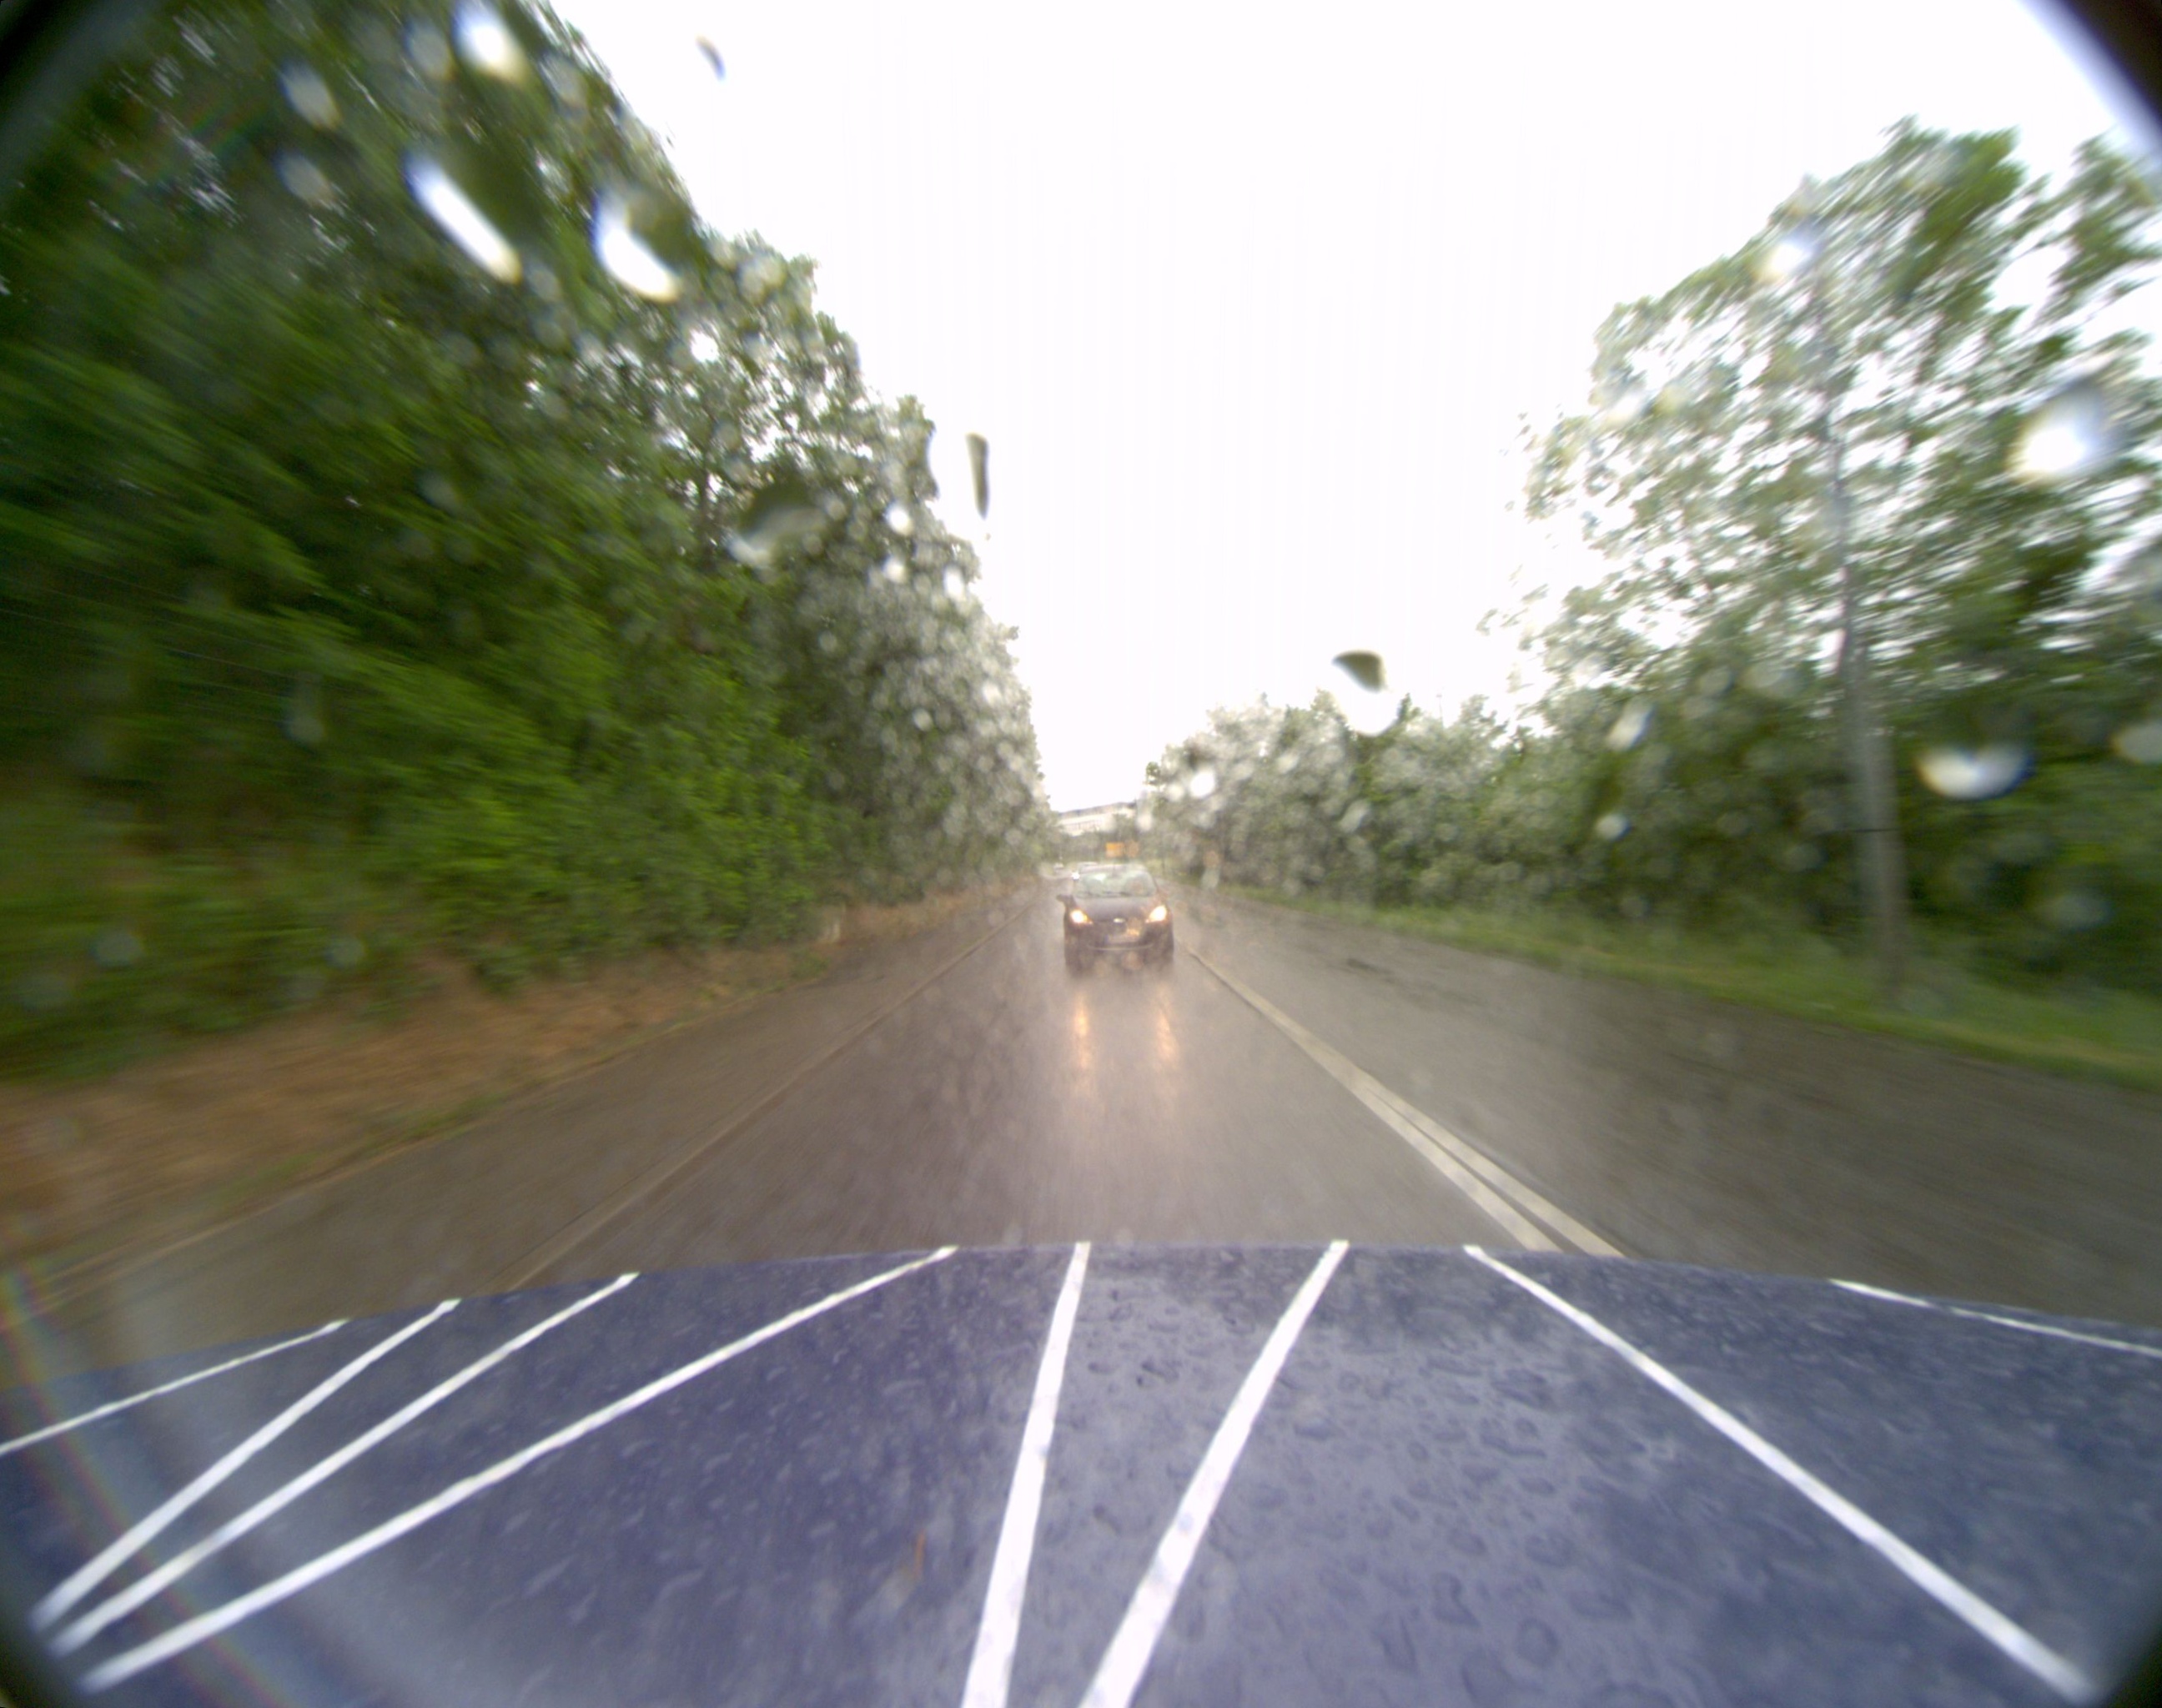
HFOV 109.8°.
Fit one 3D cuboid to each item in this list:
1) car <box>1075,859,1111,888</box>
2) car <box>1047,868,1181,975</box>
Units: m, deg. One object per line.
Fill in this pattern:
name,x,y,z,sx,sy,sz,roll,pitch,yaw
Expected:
car,0.625,1.053,42.561,1.874,1.432,4.377,-3,0,-1
car,0.431,1.012,13.136,1.874,1.432,4.377,-3,0,-1
